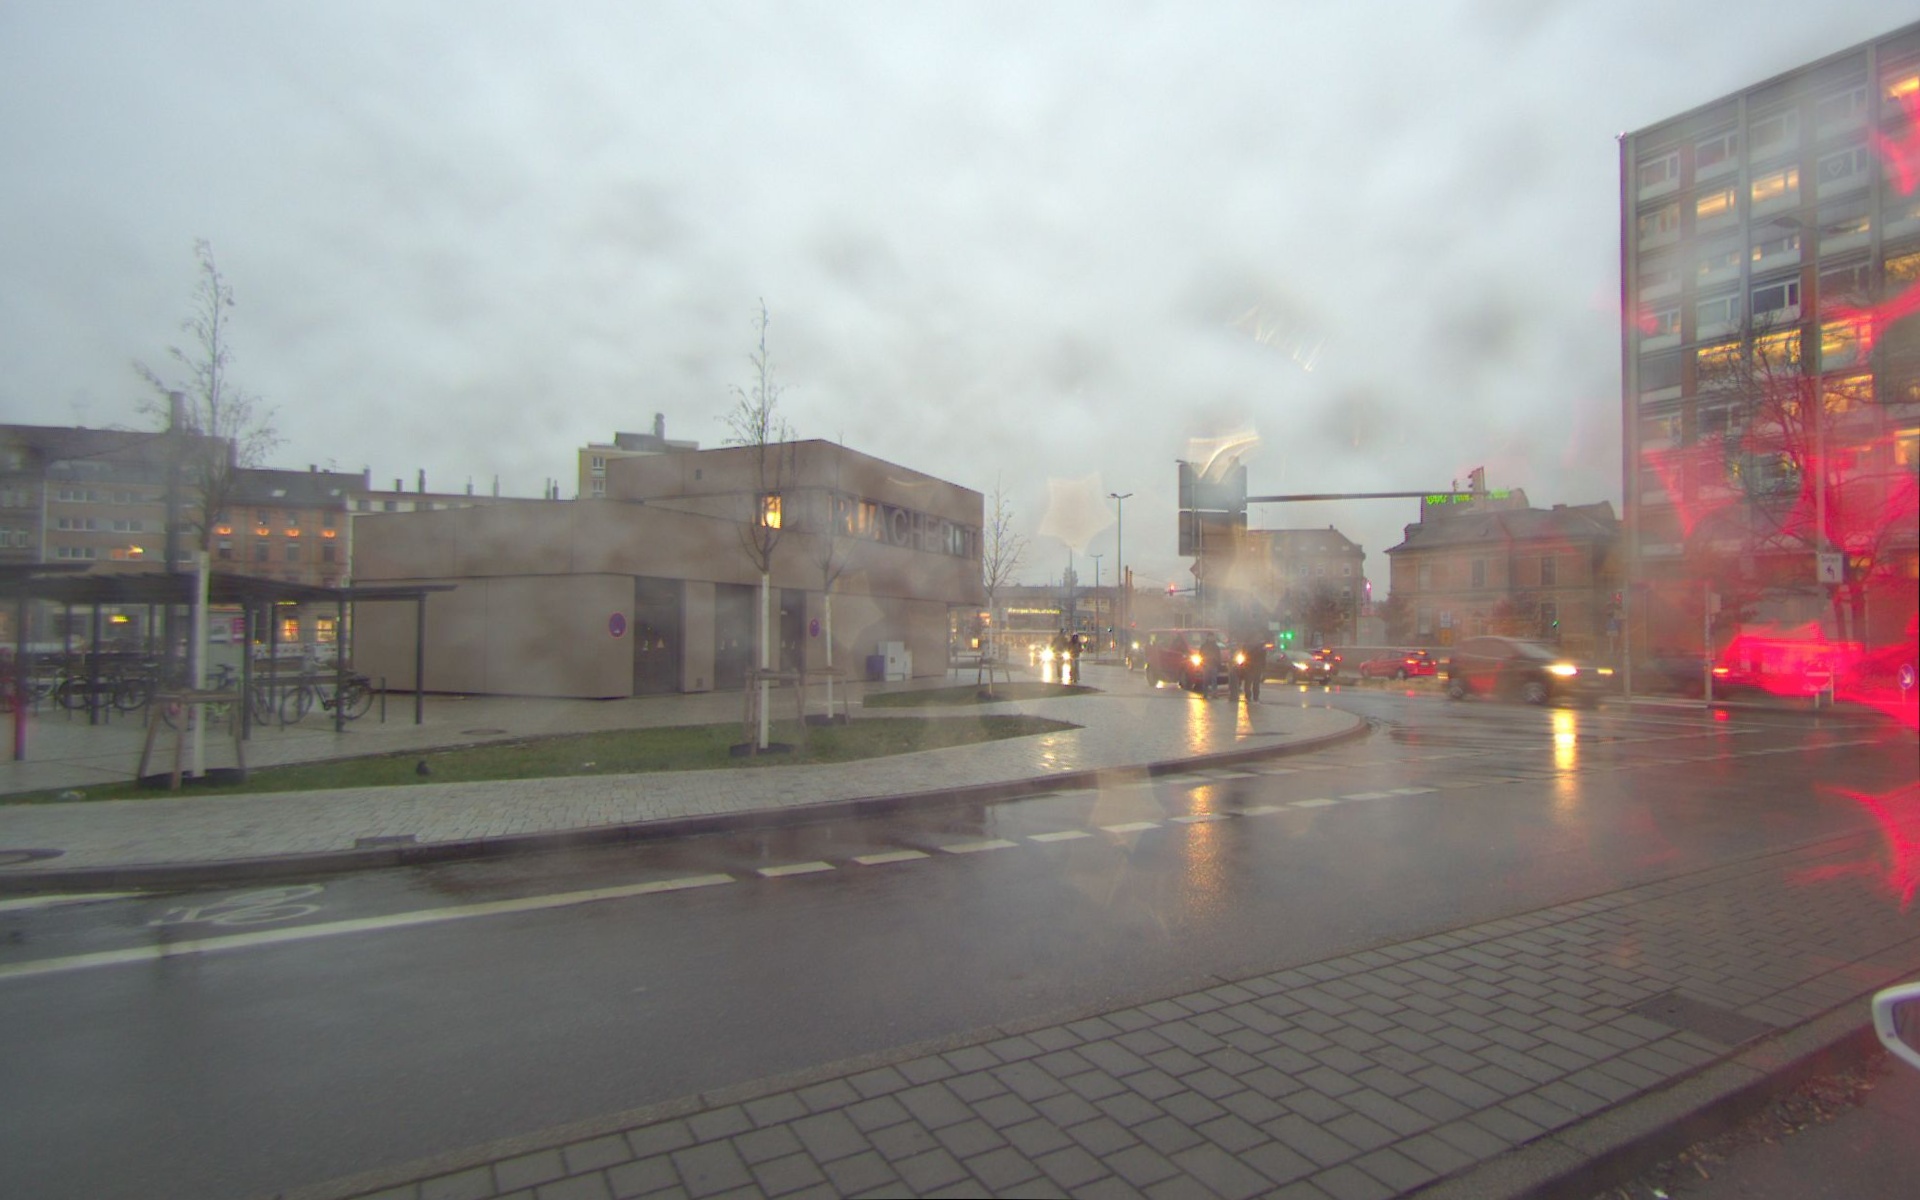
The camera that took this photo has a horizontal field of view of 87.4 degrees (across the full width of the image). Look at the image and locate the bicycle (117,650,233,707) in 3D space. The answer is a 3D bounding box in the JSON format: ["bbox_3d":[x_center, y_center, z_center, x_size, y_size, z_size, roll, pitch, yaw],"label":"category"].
[{"bbox_3d":[-17.176,1.695,22.018,0.541,1.180,1.895,2,-2,30],"label":"bicycle"}]

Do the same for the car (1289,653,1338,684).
[{"bbox_3d":[20.334,3.923,57.894,1.536,1.626,3.413,3,-1,0],"label":"car"}]

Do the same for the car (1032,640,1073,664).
[{"bbox_3d":[6.488,3.654,70.713,1.578,1.468,3.637,3,-1,-16],"label":"car"}]

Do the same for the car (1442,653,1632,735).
[{"bbox_3d":[14.493,2.319,25.510,1.732,1.706,4.063,3,-1,-18],"label":"car"}]

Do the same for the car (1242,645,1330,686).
[{"bbox_3d":[13.588,2.703,42.084,1.578,1.468,3.827,3,-1,-16],"label":"car"}]

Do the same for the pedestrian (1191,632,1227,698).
[{"bbox_3d":[6.741,1.753,27.180,0.781,1.719,0.461,3,-1,-7],"label":"pedestrian"}]

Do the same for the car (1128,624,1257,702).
[{"bbox_3d":[7.766,2.056,34.089,2.220,2.311,5.025,3,-1,-13],"label":"car"}]

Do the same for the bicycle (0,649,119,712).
[{"bbox_3d":[-18.258,1.595,20.241,0.541,1.180,1.895,2,-2,30],"label":"bicycle"}]

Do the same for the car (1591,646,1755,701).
[{"bbox_3d":[24.839,2.524,35.197,1.936,1.601,4.433,3,-1,-16],"label":"car"}]

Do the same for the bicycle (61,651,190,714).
[{"bbox_3d":[-16.874,1.638,20.355,0.541,1.180,1.895,2,-2,30],"label":"bicycle"}]

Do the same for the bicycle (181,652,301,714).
[{"bbox_3d":[-14.709,1.674,20.603,0.541,1.180,1.895,2,-2,30],"label":"bicycle"}]

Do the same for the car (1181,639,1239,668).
[{"bbox_3d":[18.319,3.902,73.879,1.966,1.938,5.157,1,-1,-14],"label":"car"}]

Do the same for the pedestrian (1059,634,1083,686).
[{"bbox_3d":[3.962,2.143,35.832,0.576,1.795,0.610,3,-1,-16],"label":"pedestrian"}]

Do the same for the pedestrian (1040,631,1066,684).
[{"bbox_3d":[3.302,2.033,35.742,0.670,1.839,0.692,3,-1,-16],"label":"pedestrian"}]

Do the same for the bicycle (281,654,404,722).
[{"bbox_3d":[-11.634,1.633,18.991,0.541,1.180,1.895,2,-2,32],"label":"bicycle"}]

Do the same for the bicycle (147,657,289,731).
[{"bbox_3d":[-12.897,1.608,17.519,0.541,1.180,1.895,2,-2,30],"label":"bicycle"}]

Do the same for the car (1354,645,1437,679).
[{"bbox_3d":[21.012,2.959,48.610,1.540,1.416,3.788,3,-1,-17],"label":"car"}]
